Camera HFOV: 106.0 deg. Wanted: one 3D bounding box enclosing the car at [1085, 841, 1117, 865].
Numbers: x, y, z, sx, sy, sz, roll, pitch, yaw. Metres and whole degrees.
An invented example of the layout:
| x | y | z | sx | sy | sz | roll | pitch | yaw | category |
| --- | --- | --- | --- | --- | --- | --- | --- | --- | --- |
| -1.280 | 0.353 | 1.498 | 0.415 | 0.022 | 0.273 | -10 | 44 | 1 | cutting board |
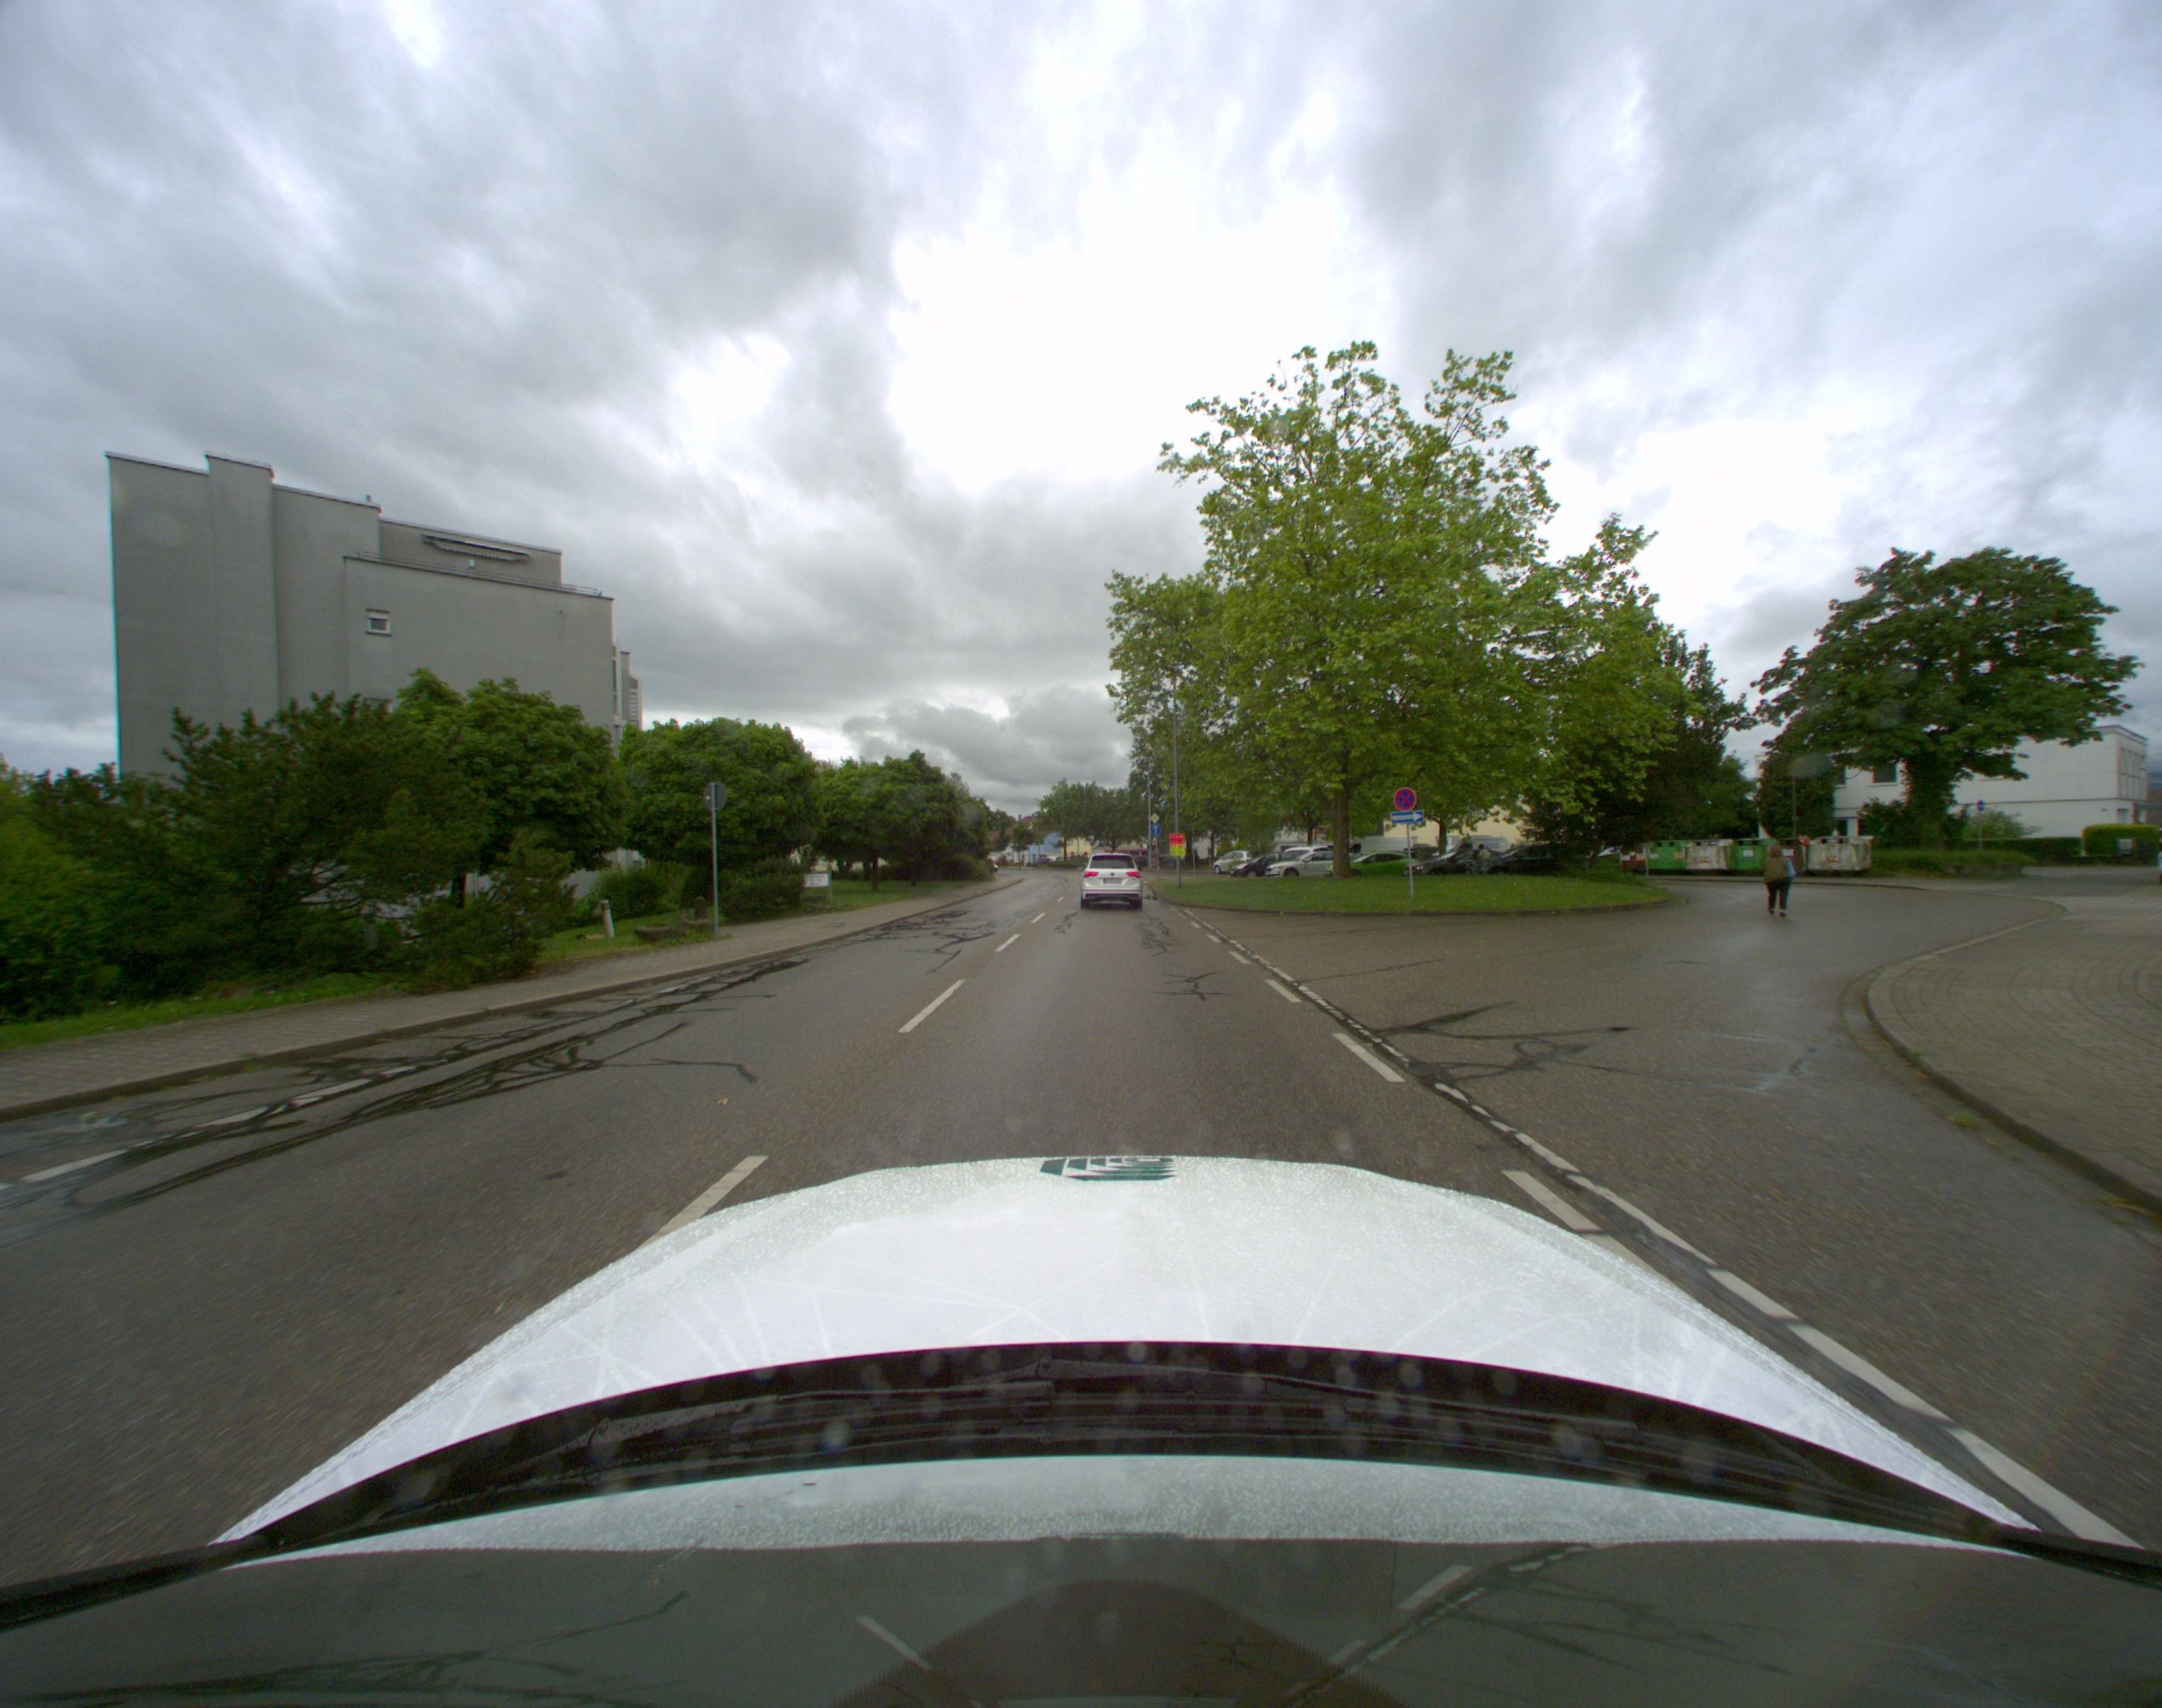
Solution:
| x | y | z | sx | sy | sz | roll | pitch | yaw | category |
| --- | --- | --- | --- | --- | --- | --- | --- | --- | --- |
| 1.332 | -0.086 | 56.052 | 1.766 | 1.551 | 3.994 | -2 | 0 | -4 | car |

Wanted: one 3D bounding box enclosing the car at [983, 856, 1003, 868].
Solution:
| x | y | z | sx | sy | sz | roll | pitch | yaw | category |
| --- | --- | --- | --- | --- | --- | --- | --- | --- | --- |
| -10.462 | 0.937 | 96.974 | 1.744 | 1.414 | 4.120 | -2 | 0 | -15 | car |

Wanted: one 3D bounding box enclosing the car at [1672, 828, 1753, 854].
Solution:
| x | y | z | sx | sy | sz | roll | pitch | yaw | category |
| --- | --- | --- | --- | --- | --- | --- | --- | --- | --- |
| 39.082 | -0.802 | 50.475 | 3.615 | 1.530 | 1.703 | -1 | 1 | 13 | car |

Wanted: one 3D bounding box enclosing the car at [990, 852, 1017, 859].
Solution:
| x | y | z | sx | sy | sz | roll | pitch | yaw | category |
| --- | --- | --- | --- | --- | --- | --- | --- | --- | --- |
| -12.854 | 0.252 | 134.462 | 4.341 | 1.260 | 1.659 | 0 | 0 | -43 | car |

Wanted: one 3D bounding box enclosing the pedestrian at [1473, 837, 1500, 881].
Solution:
| x | y | z | sx | sy | sz | roll | pitch | yaw | category |
| --- | --- | --- | --- | --- | --- | --- | --- | --- | --- |
| 15.719 | 0.181 | 31.551 | 0.734 | 1.651 | 0.588 | -2 | 0 | 5 | pedestrian |

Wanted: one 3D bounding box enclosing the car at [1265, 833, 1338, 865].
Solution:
| x | y | z | sx | sy | sz | roll | pitch | yaw | category |
| --- | --- | --- | --- | --- | --- | --- | --- | --- | --- |
| 13.739 | -0.279 | 50.931 | 2.006 | 1.881 | 4.173 | -2 | 0 | -29 | car |

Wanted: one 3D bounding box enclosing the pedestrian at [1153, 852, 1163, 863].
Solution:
| x | y | z | sx | sy | sz | roll | pitch | yaw | category |
| --- | --- | --- | --- | --- | --- | --- | --- | --- | --- |
| 6.960 | 0.320 | 73.312 | 0.748 | 1.011 | 0.550 | -2 | 0 | -7 | pedestrian |

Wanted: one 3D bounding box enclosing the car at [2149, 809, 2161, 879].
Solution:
| x | y | z | sx | sy | sz | roll | pitch | yaw | category |
| --- | --- | --- | --- | --- | --- | --- | --- | --- | --- |
| 33.861 | -0.378 | 24.217 | 5.014 | 2.013 | 2.065 | -2 | 1 | -32 | car |

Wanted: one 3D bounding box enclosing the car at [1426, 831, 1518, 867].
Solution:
| x | y | z | sx | sy | sz | roll | pitch | yaw | category |
| --- | --- | --- | --- | --- | --- | --- | --- | --- | --- |
| 24.081 | -0.330 | 50.271 | 4.743 | 2.013 | 1.996 | -2 | 0 | -6 | car |

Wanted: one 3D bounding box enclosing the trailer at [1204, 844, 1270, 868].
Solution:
| x | y | z | sx | sy | sz | roll | pitch | yaw | category |
| --- | --- | --- | --- | --- | --- | --- | --- | --- | --- |
| 10.712 | 0.120 | 56.105 | 2.007 | 1.543 | 4.381 | -2 | 1 | -32 | trailer |

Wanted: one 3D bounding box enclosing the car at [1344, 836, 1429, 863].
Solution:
| x | y | z | sx | sy | sz | roll | pitch | yaw | category |
| --- | --- | --- | --- | --- | --- | --- | --- | --- | --- |
| 16.868 | -0.229 | 45.087 | 1.773 | 1.382 | 4.143 | -2 | 1 | -34 | car |

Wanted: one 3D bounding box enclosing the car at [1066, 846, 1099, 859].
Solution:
| x | y | z | sx | sy | sz | roll | pitch | yaw | category |
| --- | --- | --- | --- | --- | --- | --- | --- | --- | --- |
| 0.206 | -0.197 | 112.360 | 4.208 | 1.671 | 1.971 | -2 | 1 | -32 | car |

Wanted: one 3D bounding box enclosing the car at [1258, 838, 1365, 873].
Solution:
| x | y | z | sx | sy | sz | roll | pitch | yaw | category |
| --- | --- | --- | --- | --- | --- | --- | --- | --- | --- |
| 10.927 | 0.047 | 38.838 | 4.564 | 1.442 | 1.762 | -2 | 1 | -4 | car |

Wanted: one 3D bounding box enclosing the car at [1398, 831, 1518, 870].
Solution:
| x | y | z | sx | sy | sz | roll | pitch | yaw | category |
| --- | --- | --- | --- | --- | --- | --- | --- | --- | --- |
| 15.084 | -0.156 | 32.705 | 4.002 | 1.371 | 1.762 | -2 | 1 | -4 | car |

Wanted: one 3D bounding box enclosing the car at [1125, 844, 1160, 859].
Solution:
| x | y | z | sx | sy | sz | roll | pitch | yaw | category |
| --- | --- | --- | --- | --- | --- | --- | --- | --- | --- |
| 7.601 | -0.295 | 100.975 | 4.017 | 1.721 | 1.904 | -2 | 0 | -35 | car |

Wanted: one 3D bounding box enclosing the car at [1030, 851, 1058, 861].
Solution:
| x | y | z | sx | sy | sz | roll | pitch | yaw | category |
| --- | --- | --- | --- | --- | --- | --- | --- | --- | --- |
| -5.477 | 0.293 | 121.042 | 4.018 | 1.387 | 1.656 | -1 | 0 | -37 | car |

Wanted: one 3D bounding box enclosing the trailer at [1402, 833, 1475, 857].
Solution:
| x | y | z | sx | sy | sz | roll | pitch | yaw | category |
| --- | --- | --- | --- | --- | --- | --- | --- | --- | --- |
| 23.070 | -0.590 | 52.623 | 3.971 | 1.437 | 1.713 | -2 | 0 | 2 | trailer |

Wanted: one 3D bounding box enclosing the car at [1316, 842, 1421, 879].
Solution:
| x | y | z | sx | sy | sz | roll | pitch | yaw | category |
| --- | --- | --- | --- | --- | --- | --- | --- | --- | --- |
| 12.683 | 0.286 | 36.056 | 4.002 | 1.442 | 1.762 | -2 | 1 | -4 | car |

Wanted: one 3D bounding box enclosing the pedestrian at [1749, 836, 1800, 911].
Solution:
| x | y | z | sx | sy | sz | roll | pitch | yaw | category |
| --- | --- | --- | --- | --- | --- | --- | --- | --- | --- |
| 15.185 | 0.405 | 17.854 | 0.728 | 1.583 | 0.956 | -1 | 0 | 34 | pedestrian |

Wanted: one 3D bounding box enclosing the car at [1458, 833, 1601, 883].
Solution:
| x | y | z | sx | sy | sz | roll | pitch | yaw | category |
| --- | --- | --- | --- | --- | --- | --- | --- | --- | --- |
| 16.470 | 0.145 | 30.094 | 4.251 | 1.626 | 1.770 | -2 | 0 | 12 | car |

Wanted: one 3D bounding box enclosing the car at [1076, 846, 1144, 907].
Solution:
| x | y | z | sx | sy | sz | roll | pitch | yaw | category |
| --- | --- | --- | --- | --- | --- | --- | --- | --- | --- |
| 0.898 | 0.610 | 25.062 | 1.858 | 1.650 | 4.002 | -2 | 1 | 2 | car |

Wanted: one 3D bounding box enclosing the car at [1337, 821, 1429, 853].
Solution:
| x | y | z | sx | sy | sz | roll | pitch | yaw | category |
| --- | --- | --- | --- | --- | --- | --- | --- | --- | --- |
| 21.323 | -1.198 | 57.510 | 5.819 | 2.013 | 1.994 | -2 | 0 | -9 | car |

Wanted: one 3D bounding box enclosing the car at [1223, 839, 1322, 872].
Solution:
| x | y | z | sx | sy | sz | roll | pitch | yaw | category |
| --- | --- | --- | --- | --- | --- | --- | --- | --- | --- |
| 9.675 | 0.061 | 41.388 | 4.564 | 1.442 | 1.762 | -2 | 1 | -4 | car |
